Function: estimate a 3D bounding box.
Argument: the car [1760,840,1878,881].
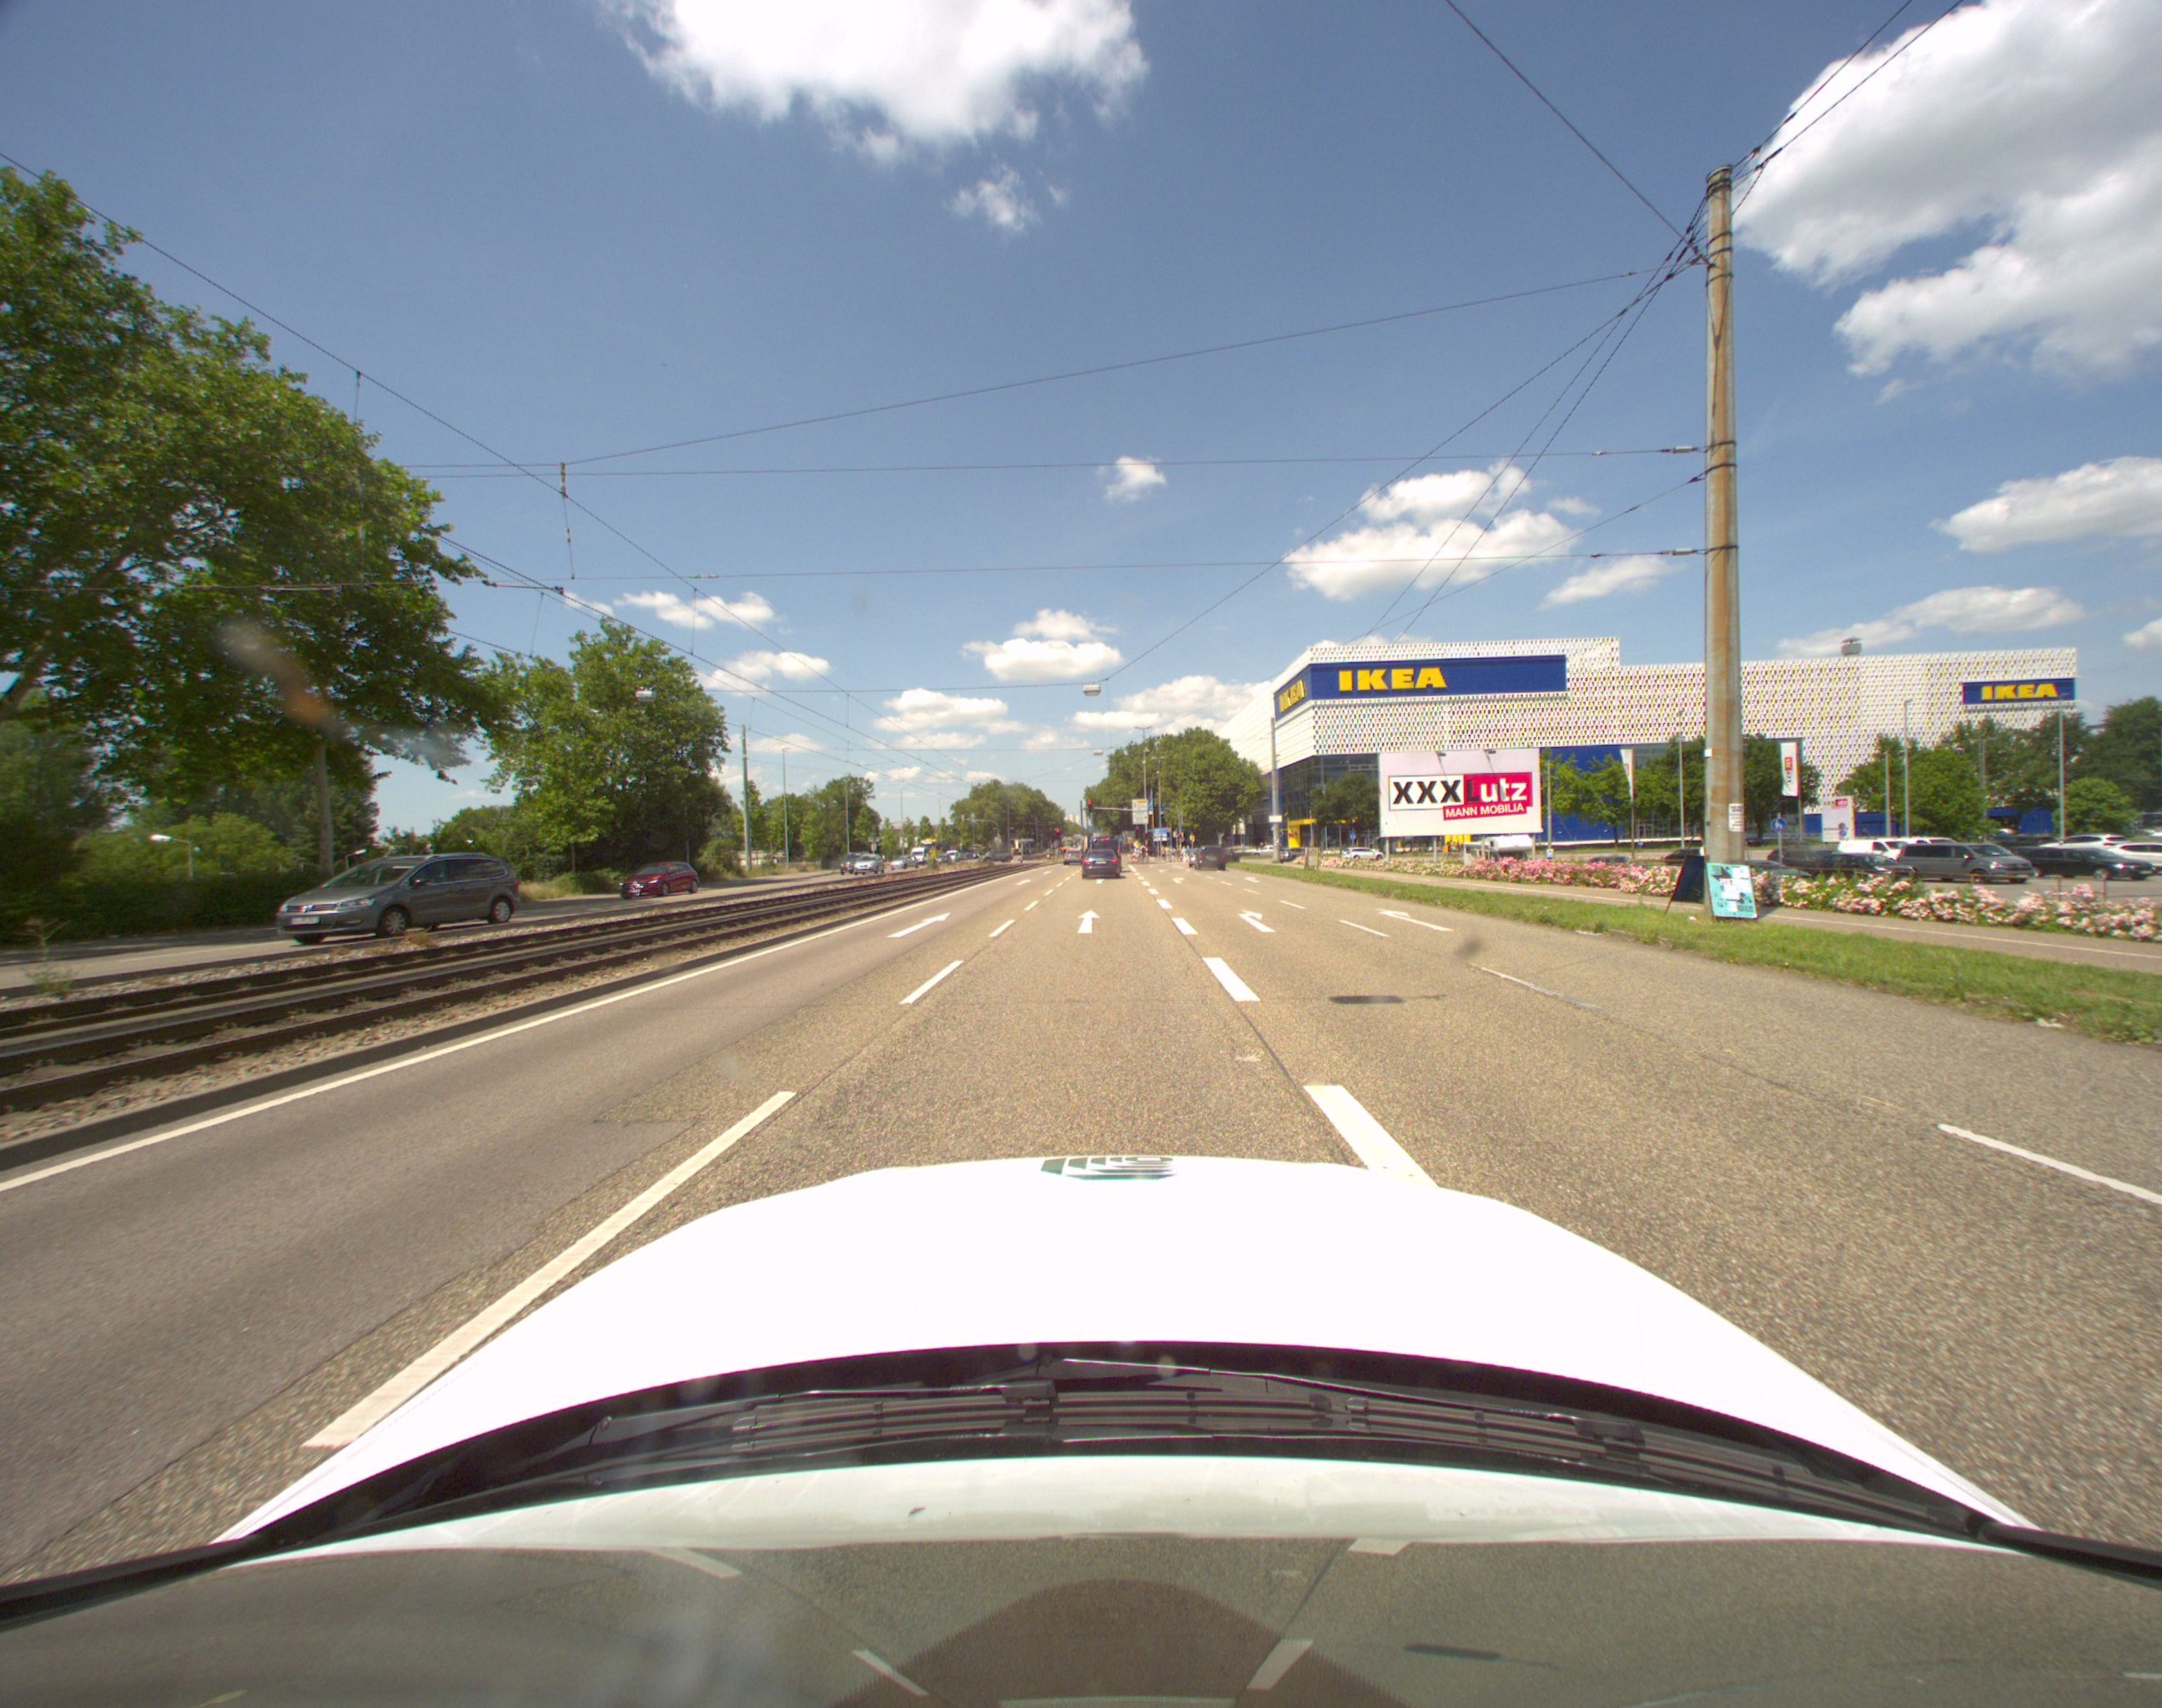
[{"bbox_3d":[40.315,0.330,44.688,1.986,2.013,5.003,-2,0,2],"label":"car"}]

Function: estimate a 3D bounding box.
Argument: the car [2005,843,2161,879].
[{"bbox_3d":[47.450,0.284,38.507,1.986,1.610,5.003,0,0,2],"label":"car"}]

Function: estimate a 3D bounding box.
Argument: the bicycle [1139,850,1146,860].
[{"bbox_3d":[6.516,0.077,86.096,0.685,0.993,2.753,0,0,2],"label":"bicycle"}]

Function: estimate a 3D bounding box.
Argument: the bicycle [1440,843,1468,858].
[{"bbox_3d":[38.112,-0.374,83.244,2.410,1.481,0.990,-1,0,6],"label":"bicycle"}]

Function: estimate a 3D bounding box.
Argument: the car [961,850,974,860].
[{"bbox_3d":[-21.651,0.235,155.553,1.811,1.883,4.002,-1,0,2],"label":"car"}]

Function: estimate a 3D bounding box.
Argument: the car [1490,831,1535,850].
[{"bbox_3d":[55.640,-1.740,105.158,4.743,2.309,2.000,-1,0,0],"label":"car"}]

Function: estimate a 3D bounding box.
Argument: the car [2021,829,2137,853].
[{"bbox_3d":[70.392,-0.887,57.600,1.989,1.610,4.994,0,0,-3],"label":"car"}]

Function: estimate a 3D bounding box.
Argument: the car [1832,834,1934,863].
[{"bbox_3d":[53.125,-0.383,54.103,1.986,1.852,5.003,0,0,2],"label":"car"}]

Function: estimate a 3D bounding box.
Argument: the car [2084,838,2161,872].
[{"bbox_3d":[52.282,0.052,39.194,1.986,1.610,5.003,0,0,2],"label":"car"}]

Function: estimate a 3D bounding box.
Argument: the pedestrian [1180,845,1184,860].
[{"bbox_3d":[10.810,-0.125,87.322,0.337,1.635,0.377,0,0,5],"label":"pedestrian"}]

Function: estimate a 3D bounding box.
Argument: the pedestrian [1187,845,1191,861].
[{"bbox_3d":[11.283,-0.132,85.186,0.319,1.635,0.377,0,0,5],"label":"pedestrian"}]

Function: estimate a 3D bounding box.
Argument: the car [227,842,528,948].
[{"bbox_3d":[-14.602,0.725,17.448,1.987,1.830,4.969,-4,1,0],"label":"car"}]

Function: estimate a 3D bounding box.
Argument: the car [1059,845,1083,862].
[{"bbox_3d":[-0.841,-0.092,73.122,1.986,1.486,4.002,0,1,2],"label":"car"}]

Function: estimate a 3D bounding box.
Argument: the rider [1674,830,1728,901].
[{"bbox_3d":[13.014,0.233,17.113,0.666,1.457,0.618,-1,0,1],"label":"rider"}]

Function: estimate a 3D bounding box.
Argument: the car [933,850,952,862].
[{"bbox_3d":[-19.946,0.304,117.289,1.815,1.670,4.463,0,1,2],"label":"car"}]

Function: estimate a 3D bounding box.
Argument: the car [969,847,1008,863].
[{"bbox_3d":[-11.233,0.123,99.014,4.409,1.918,1.988,0,1,-19],"label":"car"}]

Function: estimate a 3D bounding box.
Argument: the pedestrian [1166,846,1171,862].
[{"bbox_3d":[9.136,-0.033,85.220,0.551,1.635,0.433,0,0,4],"label":"pedestrian"}]

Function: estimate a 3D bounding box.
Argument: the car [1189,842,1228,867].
[{"bbox_3d":[8.084,0.023,51.776,1.986,1.486,4.002,0,1,2],"label":"car"}]

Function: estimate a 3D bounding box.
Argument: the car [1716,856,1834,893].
[{"bbox_3d":[32.980,0.911,38.887,1.986,1.496,4.305,-4,0,2],"label":"car"}]

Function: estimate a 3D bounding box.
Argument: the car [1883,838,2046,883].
[{"bbox_3d":[42.351,0.288,39.300,1.986,2.013,5.537,0,0,2],"label":"car"}]

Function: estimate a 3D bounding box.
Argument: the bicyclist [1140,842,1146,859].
[{"bbox_3d":[6.486,-0.328,85.464,0.526,1.789,1.089,-1,0,2],"label":"bicyclist"}]

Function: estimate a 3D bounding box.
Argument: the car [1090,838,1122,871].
[{"bbox_3d":[1.501,-0.008,49.597,1.830,1.950,4.002,-1,1,2],"label":"car"}]

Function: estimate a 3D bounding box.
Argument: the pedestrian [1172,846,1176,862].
[{"bbox_3d":[9.743,-0.013,85.207,0.443,1.635,0.430,0,0,4],"label":"pedestrian"}]

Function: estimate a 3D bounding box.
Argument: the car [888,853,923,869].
[{"bbox_3d":[-18.783,0.727,87.206,1.807,1.415,3.902,-3,0,18],"label":"car"}]

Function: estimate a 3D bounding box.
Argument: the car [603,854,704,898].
[{"bbox_3d":[-18.853,0.931,36.175,1.987,1.670,4.468,-3,1,0],"label":"car"}]

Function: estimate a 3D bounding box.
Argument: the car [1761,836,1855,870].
[{"bbox_3d":[48.364,-0.072,54.342,1.986,2.134,5.003,0,0,2],"label":"car"}]

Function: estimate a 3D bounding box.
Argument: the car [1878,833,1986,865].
[{"bbox_3d":[55.822,-0.316,53.582,1.986,2.007,5.003,0,0,2],"label":"car"}]

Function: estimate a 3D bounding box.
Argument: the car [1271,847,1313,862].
[{"bbox_3d":[21.182,0.039,81.737,4.167,1.486,1.977,0,1,-40],"label":"car"}]

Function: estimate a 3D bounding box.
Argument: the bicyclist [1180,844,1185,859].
[{"bbox_3d":[12.139,-0.251,97.525,0.525,1.764,0.831,-1,0,15],"label":"bicyclist"}]

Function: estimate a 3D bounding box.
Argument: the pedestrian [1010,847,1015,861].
[{"bbox_3d":[-10.167,-0.024,120.660,0.683,2.013,0.572,-1,0,-3],"label":"pedestrian"}]

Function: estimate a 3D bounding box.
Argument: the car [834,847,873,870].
[{"bbox_3d":[-19.759,0.344,70.883,1.988,1.830,4.967,-3,1,-1],"label":"car"}]

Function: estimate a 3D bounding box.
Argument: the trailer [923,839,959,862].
[{"bbox_3d":[-22.967,-0.564,134.806,2.757,3.518,15.884,-1,0,2],"label":"trailer"}]

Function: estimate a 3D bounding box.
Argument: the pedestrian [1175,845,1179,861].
[{"bbox_3d":[10.309,-0.102,87.412,0.379,1.635,0.377,0,0,5],"label":"pedestrian"}]

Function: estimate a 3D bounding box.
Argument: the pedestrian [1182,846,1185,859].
[{"bbox_3d":[10.726,-0.141,85.221,0.371,1.303,0.365,0,0,5],"label":"pedestrian"}]

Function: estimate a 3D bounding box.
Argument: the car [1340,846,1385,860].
[{"bbox_3d":[31.243,-0.134,90.456,4.382,1.486,1.991,0,1,-14],"label":"car"}]

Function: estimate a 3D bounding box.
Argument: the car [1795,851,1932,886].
[{"bbox_3d":[37.564,0.643,39.315,1.986,1.550,5.003,0,0,2],"label":"car"}]

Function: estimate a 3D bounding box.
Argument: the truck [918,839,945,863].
[{"bbox_3d":[-23.219,-0.518,126.552,2.757,3.569,6.442,-1,0,2],"label":"truck"}]

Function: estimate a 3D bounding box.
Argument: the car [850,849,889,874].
[{"bbox_3d":[-15.381,0.510,59.396,1.680,1.583,4.058,-4,1,0],"label":"car"}]

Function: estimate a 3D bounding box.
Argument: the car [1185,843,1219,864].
[{"bbox_3d":[8.935,-0.049,60.449,1.986,1.486,4.168,0,1,2],"label":"car"}]

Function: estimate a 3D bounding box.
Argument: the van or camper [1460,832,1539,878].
[{"bbox_3d":[29.248,0.069,57.288,2.494,3.020,7.235,0,0,6],"label":"van or camper"}]

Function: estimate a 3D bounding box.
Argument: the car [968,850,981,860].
[{"bbox_3d":[-21.318,0.212,163.358,1.811,1.883,4.002,-1,0,2],"label":"car"}]

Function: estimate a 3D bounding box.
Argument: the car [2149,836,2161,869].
[{"bbox_3d":[55.051,-0.058,38.754,1.986,1.650,5.003,0,0,2],"label":"car"}]

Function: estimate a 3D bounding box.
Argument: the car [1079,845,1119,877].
[{"bbox_3d":[0.915,0.311,40.003,1.786,1.455,4.002,-2,1,2],"label":"car"}]

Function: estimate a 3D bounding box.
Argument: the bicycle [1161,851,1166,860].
[{"bbox_3d":[8.802,0.166,87.113,0.547,0.877,1.700,0,0,5],"label":"bicycle"}]

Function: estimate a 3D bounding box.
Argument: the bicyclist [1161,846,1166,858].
[{"bbox_3d":[8.872,-0.225,87.603,0.468,1.193,0.792,-1,0,4],"label":"bicyclist"}]
